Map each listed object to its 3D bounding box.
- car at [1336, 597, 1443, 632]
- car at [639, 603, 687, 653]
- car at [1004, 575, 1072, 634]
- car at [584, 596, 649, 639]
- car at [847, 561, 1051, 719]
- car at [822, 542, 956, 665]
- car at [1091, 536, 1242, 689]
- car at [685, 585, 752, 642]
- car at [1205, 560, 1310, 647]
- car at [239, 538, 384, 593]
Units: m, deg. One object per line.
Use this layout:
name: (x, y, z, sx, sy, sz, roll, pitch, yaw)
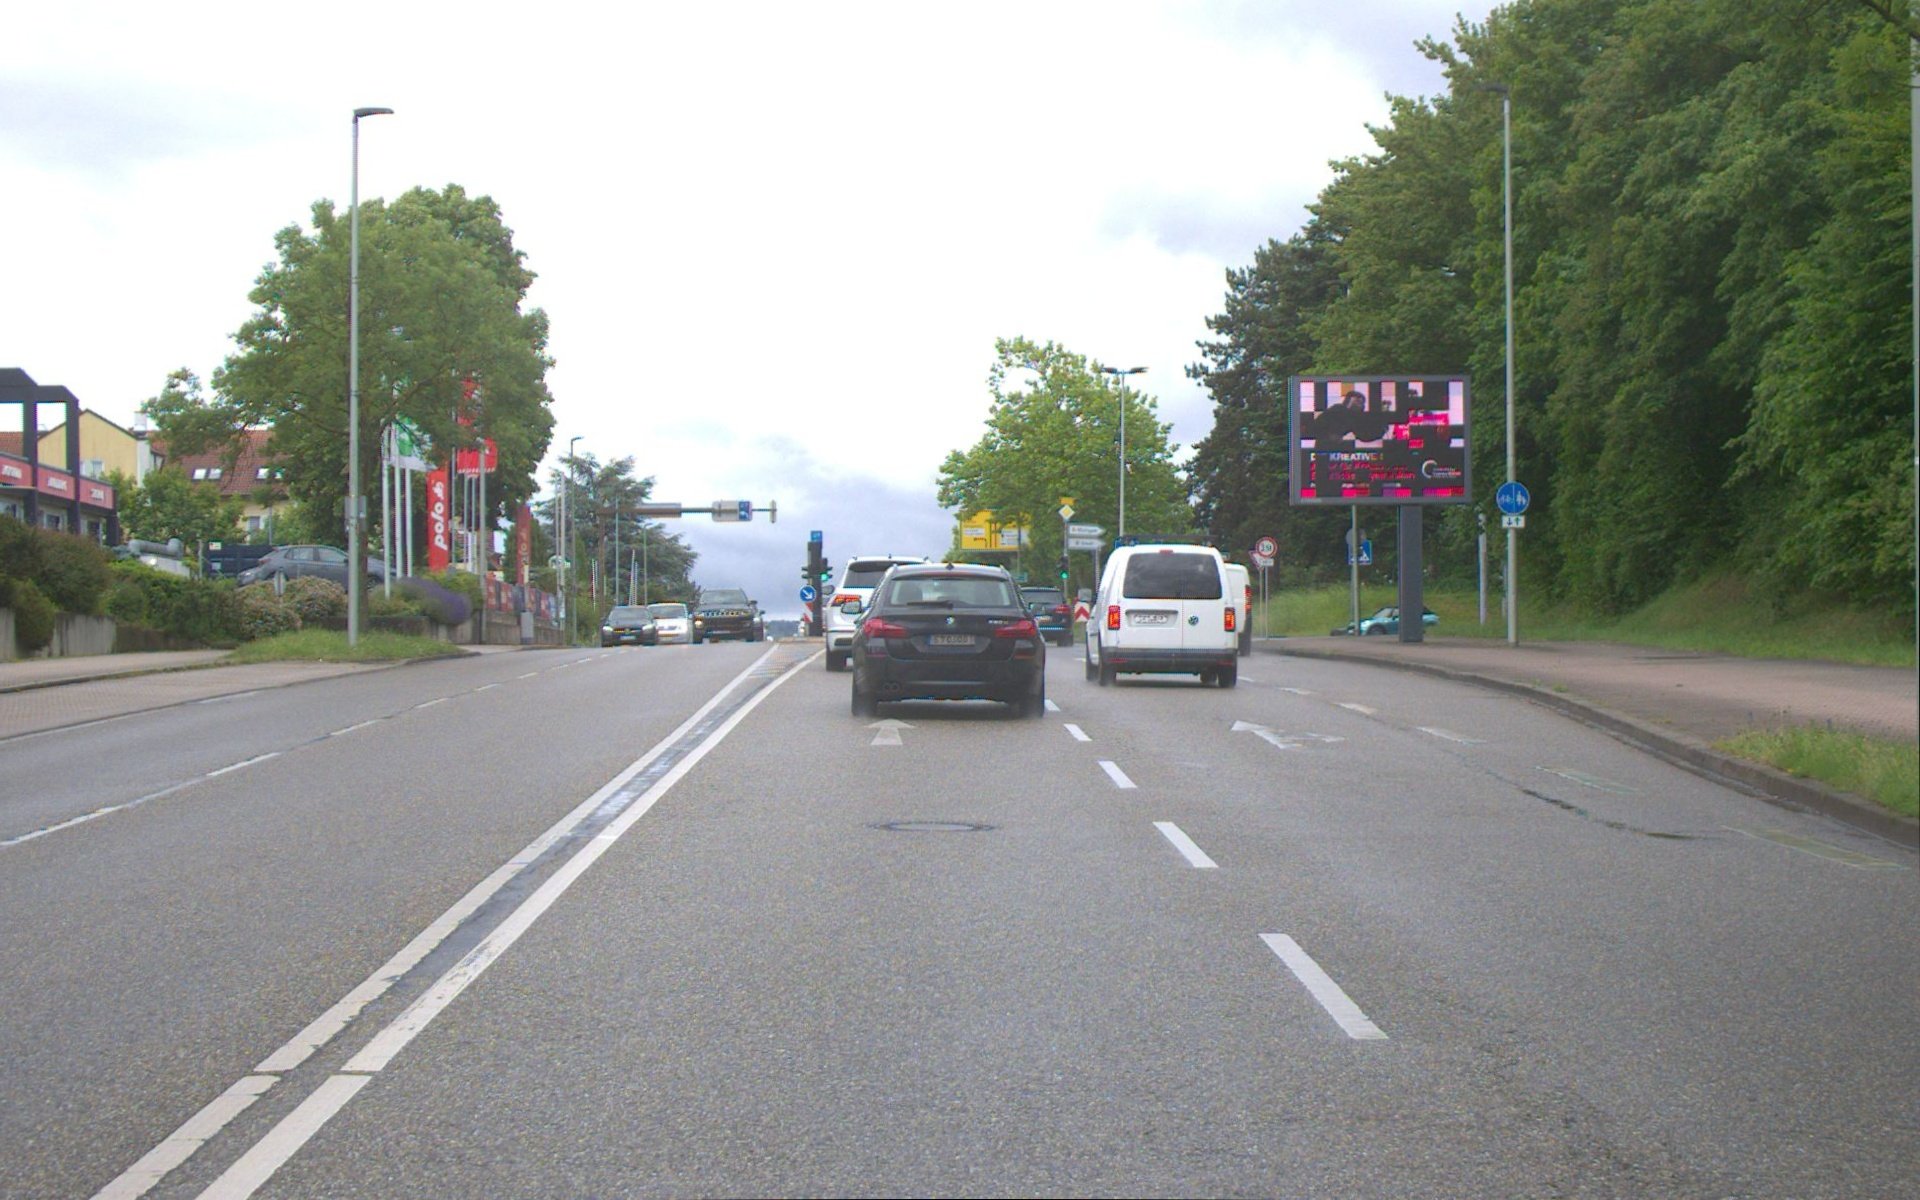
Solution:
car: (17.338, 0.592, 138.789, 3.986, 1.289, 1.609, -2, 0, -19)
car: (-12.156, 1.121, 140.867, 1.795, 1.976, 4.899, -2, 0, -4)
car: (1.920, 0.093, 85.464, 1.600, 1.367, 3.680, -1, 1, 0)
car: (-11.625, 0.578, 116.470, 1.793, 1.397, 4.300, -1, 0, -1)
car: (-0.051, 0.348, 33.706, 1.855, 1.414, 3.957, 1, 1, 1)
car: (-0.996, 0.026, 49.934, 1.728, 1.705, 3.382, 1, 1, 2)
car: (2.629, 0.128, 44.518, 1.741, 1.863, 3.946, 1, 1, 1)
car: (-7.092, 0.394, 101.382, 1.795, 1.578, 4.199, -1, 1, -2)
car: (5.982, 0.040, 69.465, 1.814, 1.702, 3.946, 0, 1, 1)
car: (-17.839, -0.945, 94.681, 3.825, 1.477, 1.742, 0, 0, -8)
